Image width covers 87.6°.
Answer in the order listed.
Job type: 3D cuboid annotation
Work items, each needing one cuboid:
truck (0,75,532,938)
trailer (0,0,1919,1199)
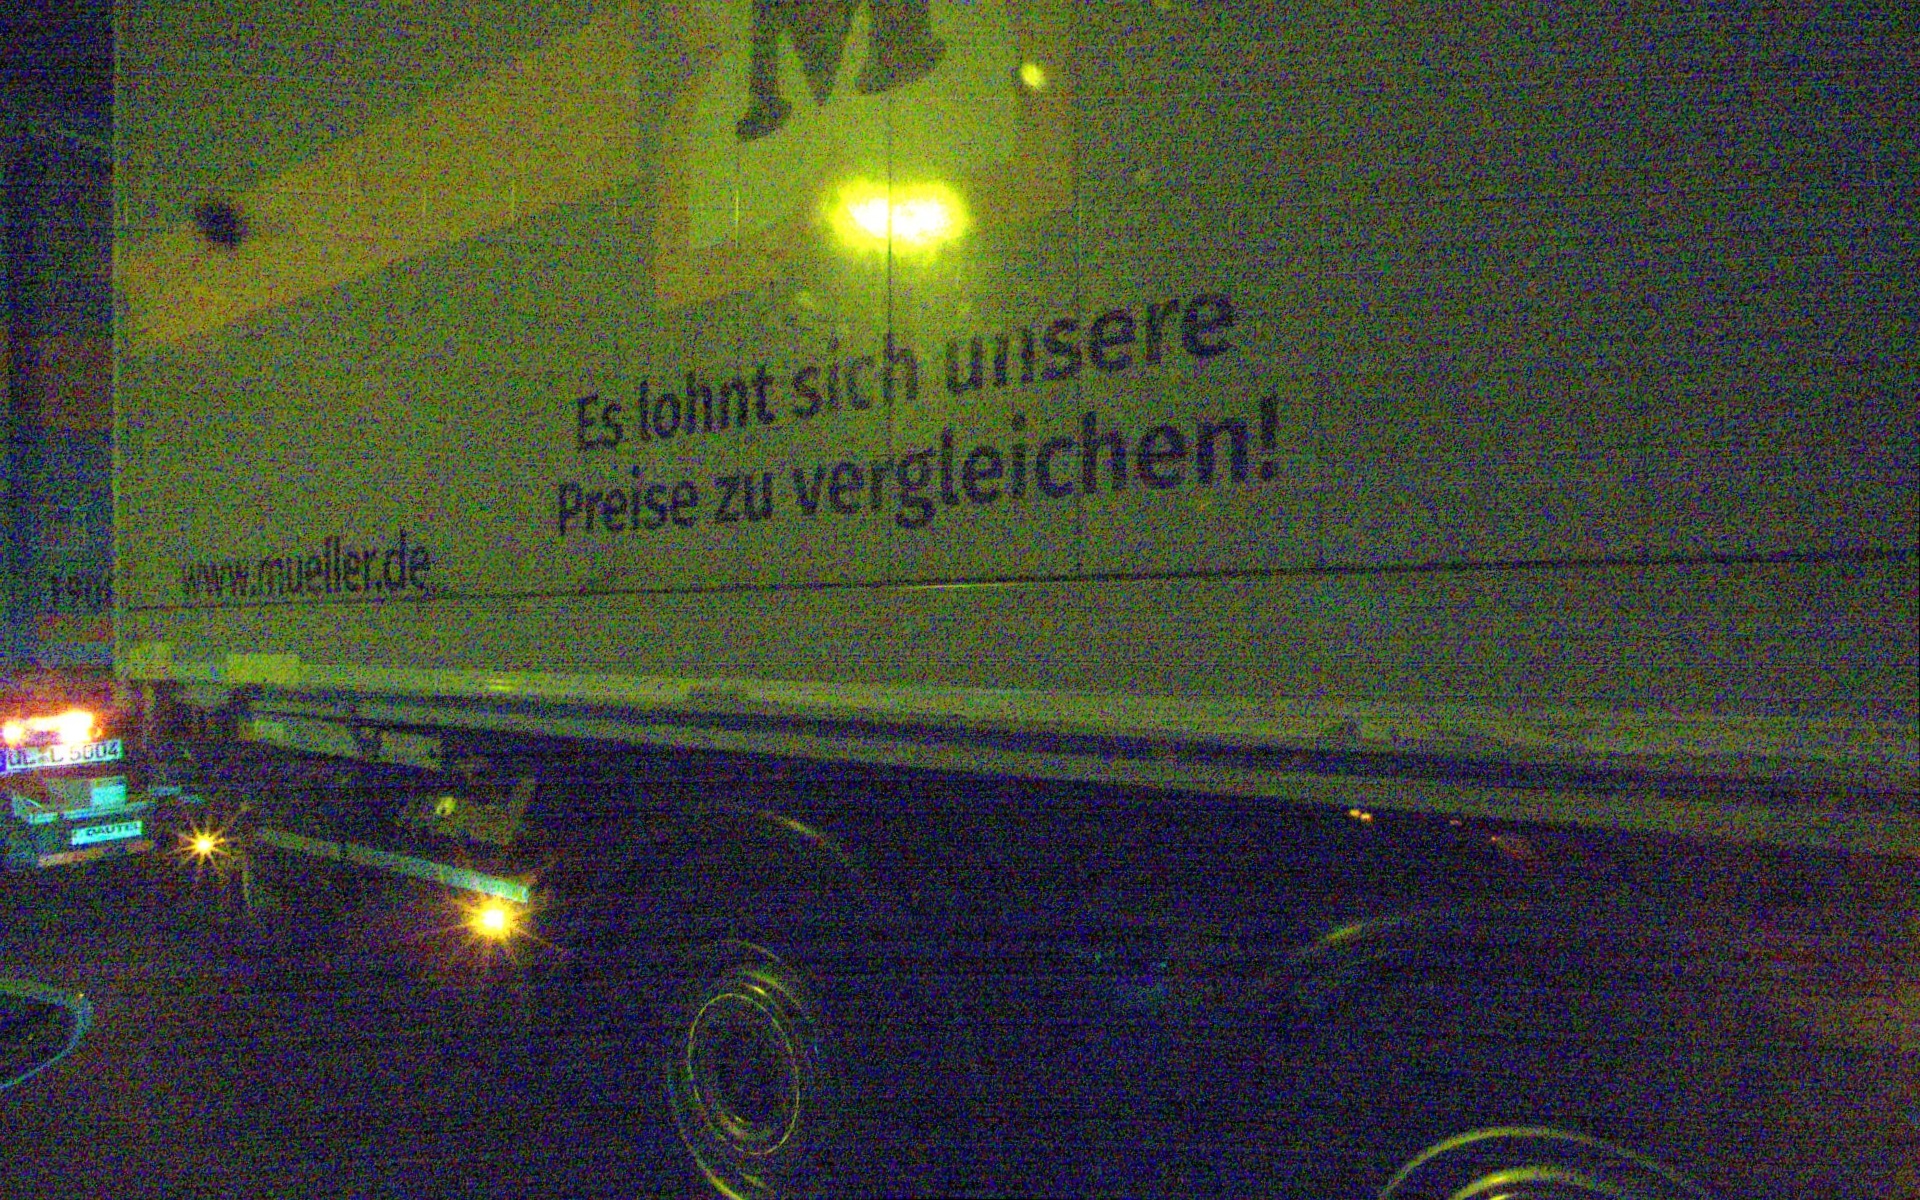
[{"bbox_3d":[-7.837,-0.339,8.340,9.768,3.964,2.883,-1,-1,33],"label":"truck"},{"bbox_3d":[-0.021,-0.441,3.319,8.819,3.908,2.871,-1,-1,32],"label":"trailer"}]
